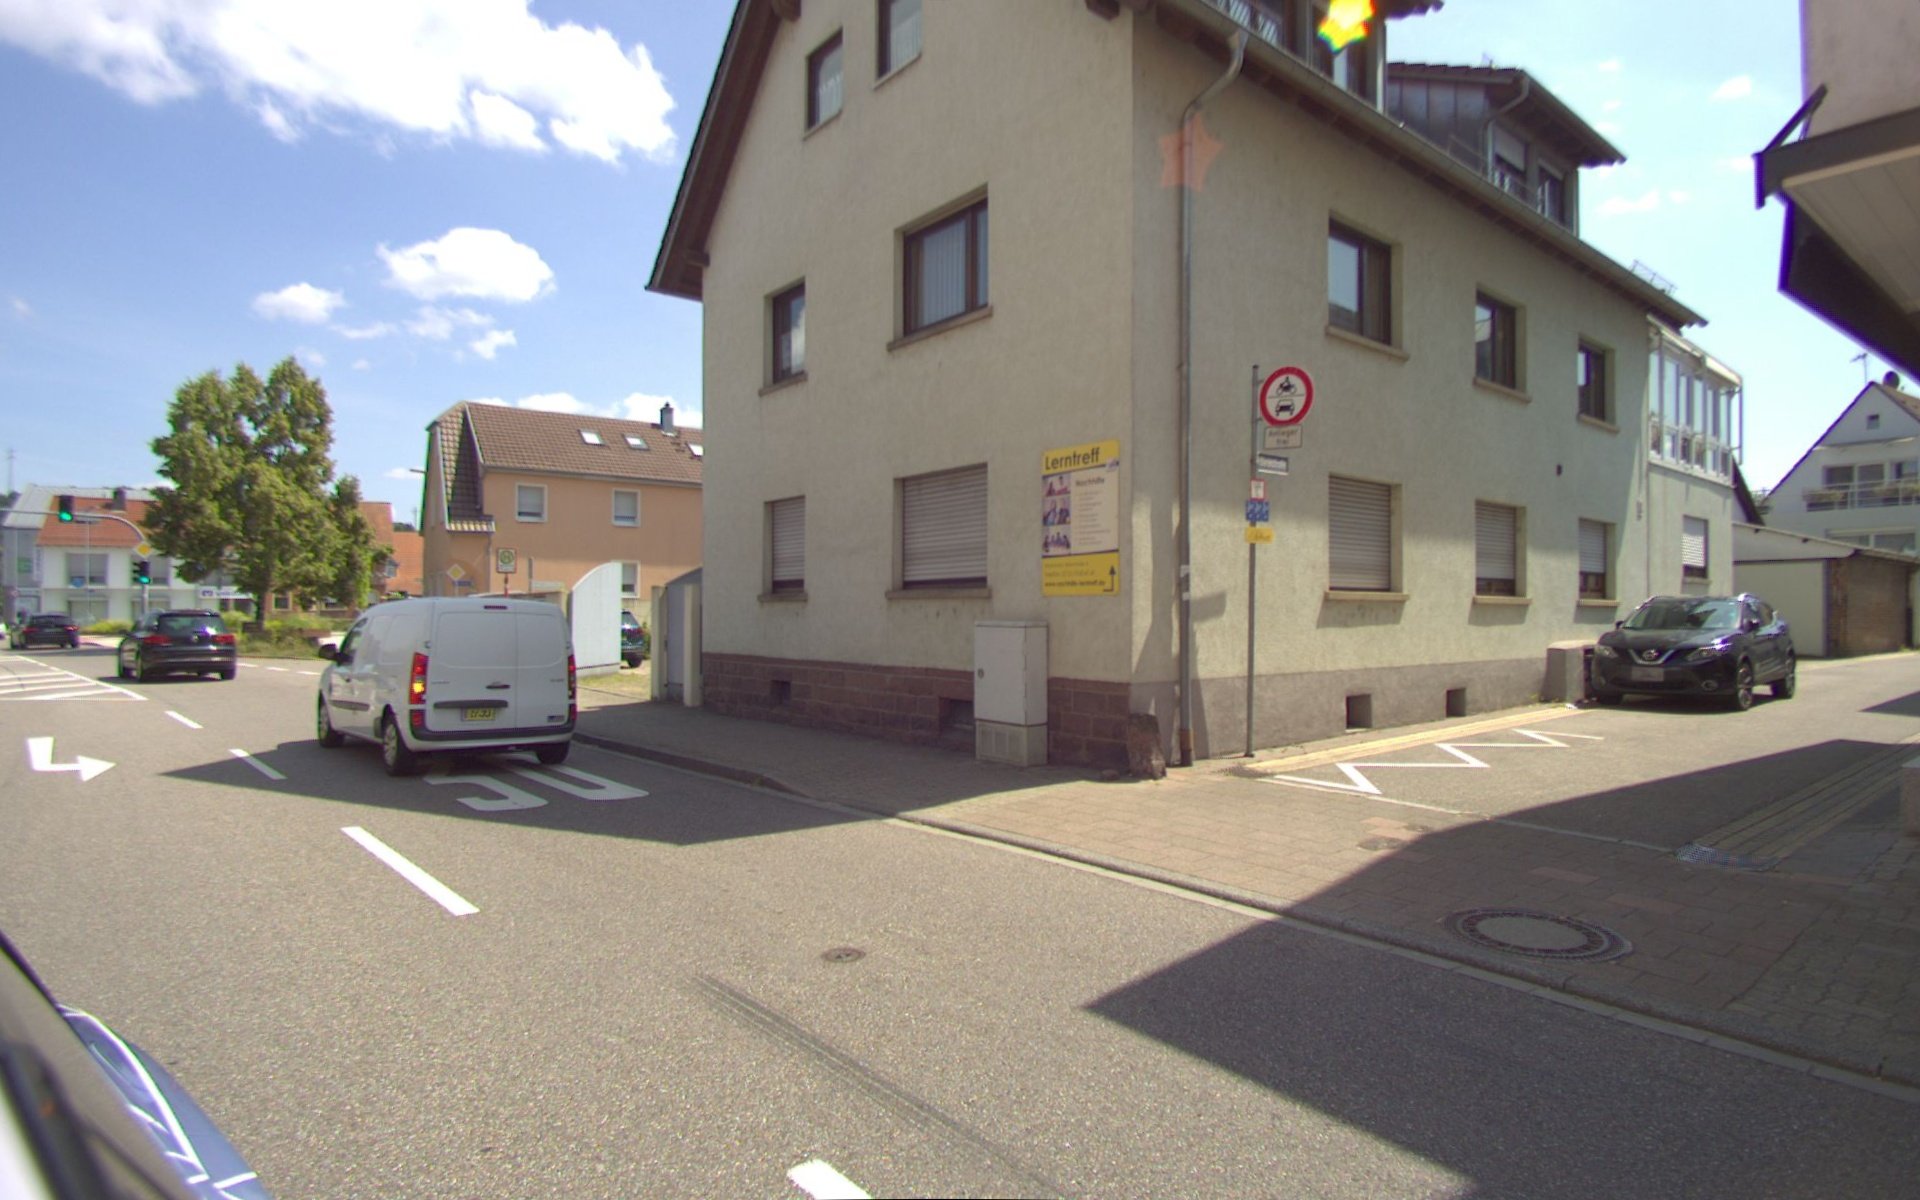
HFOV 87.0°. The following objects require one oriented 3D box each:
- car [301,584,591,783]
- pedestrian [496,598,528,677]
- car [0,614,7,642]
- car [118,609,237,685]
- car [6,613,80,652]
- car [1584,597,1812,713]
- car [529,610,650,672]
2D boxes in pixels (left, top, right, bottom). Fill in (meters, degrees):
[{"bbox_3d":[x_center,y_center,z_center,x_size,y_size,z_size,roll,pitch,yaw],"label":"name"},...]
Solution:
[{"bbox_3d":[-6.088,0.821,11.684,1.761,1.844,4.605,2,-2,-43],"label":"car"},{"bbox_3d":[-10.219,0.838,23.092,0.476,1.777,0.467,-1,-1,28],"label":"pedestrian"},{"bbox_3d":[-52.673,1.510,54.406,4.530,1.467,1.761,-1,-1,42],"label":"car"},{"bbox_3d":[-18.432,1.049,23.780,1.728,1.623,4.002,1,-1,-45],"label":"car"},{"bbox_3d":[-36.605,1.276,40.376,4.530,1.467,1.761,-1,-1,42],"label":"car"},{"bbox_3d":[10.934,0.728,14.912,3.938,1.474,1.894,0,-1,-41],"label":"car"},{"bbox_3d":[-10.561,1.110,28.699,1.728,1.623,4.002,1,-1,-45],"label":"car"}]
